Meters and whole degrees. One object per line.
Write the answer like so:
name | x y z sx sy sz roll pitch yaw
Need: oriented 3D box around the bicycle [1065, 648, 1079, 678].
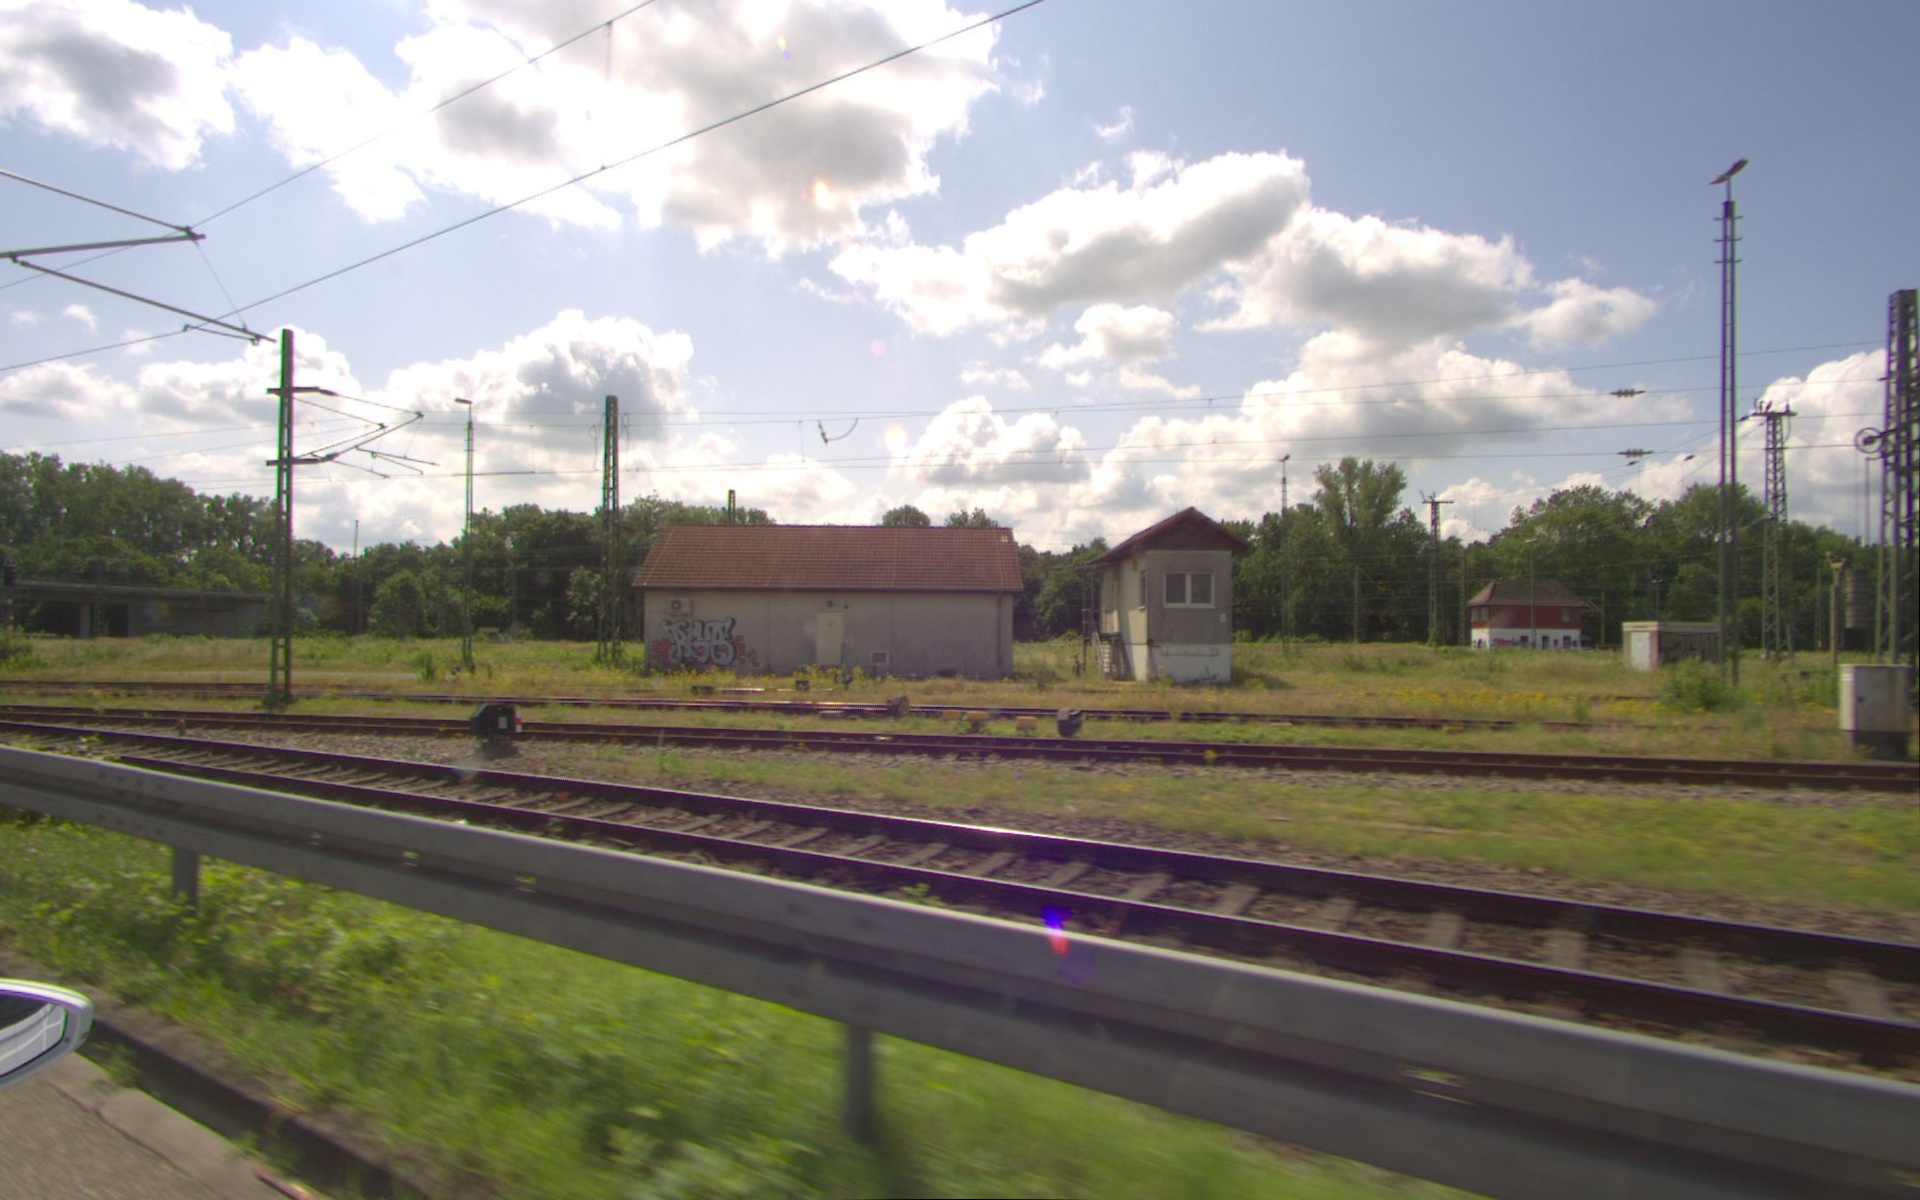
bicycle | 4.745 2.668 42.523 0.404 1.219 1.875 1 -2 1

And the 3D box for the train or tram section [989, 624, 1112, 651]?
train or tram section | 11.578 4.819 128.540 15.453 3.347 3.036 0 -2 -3
